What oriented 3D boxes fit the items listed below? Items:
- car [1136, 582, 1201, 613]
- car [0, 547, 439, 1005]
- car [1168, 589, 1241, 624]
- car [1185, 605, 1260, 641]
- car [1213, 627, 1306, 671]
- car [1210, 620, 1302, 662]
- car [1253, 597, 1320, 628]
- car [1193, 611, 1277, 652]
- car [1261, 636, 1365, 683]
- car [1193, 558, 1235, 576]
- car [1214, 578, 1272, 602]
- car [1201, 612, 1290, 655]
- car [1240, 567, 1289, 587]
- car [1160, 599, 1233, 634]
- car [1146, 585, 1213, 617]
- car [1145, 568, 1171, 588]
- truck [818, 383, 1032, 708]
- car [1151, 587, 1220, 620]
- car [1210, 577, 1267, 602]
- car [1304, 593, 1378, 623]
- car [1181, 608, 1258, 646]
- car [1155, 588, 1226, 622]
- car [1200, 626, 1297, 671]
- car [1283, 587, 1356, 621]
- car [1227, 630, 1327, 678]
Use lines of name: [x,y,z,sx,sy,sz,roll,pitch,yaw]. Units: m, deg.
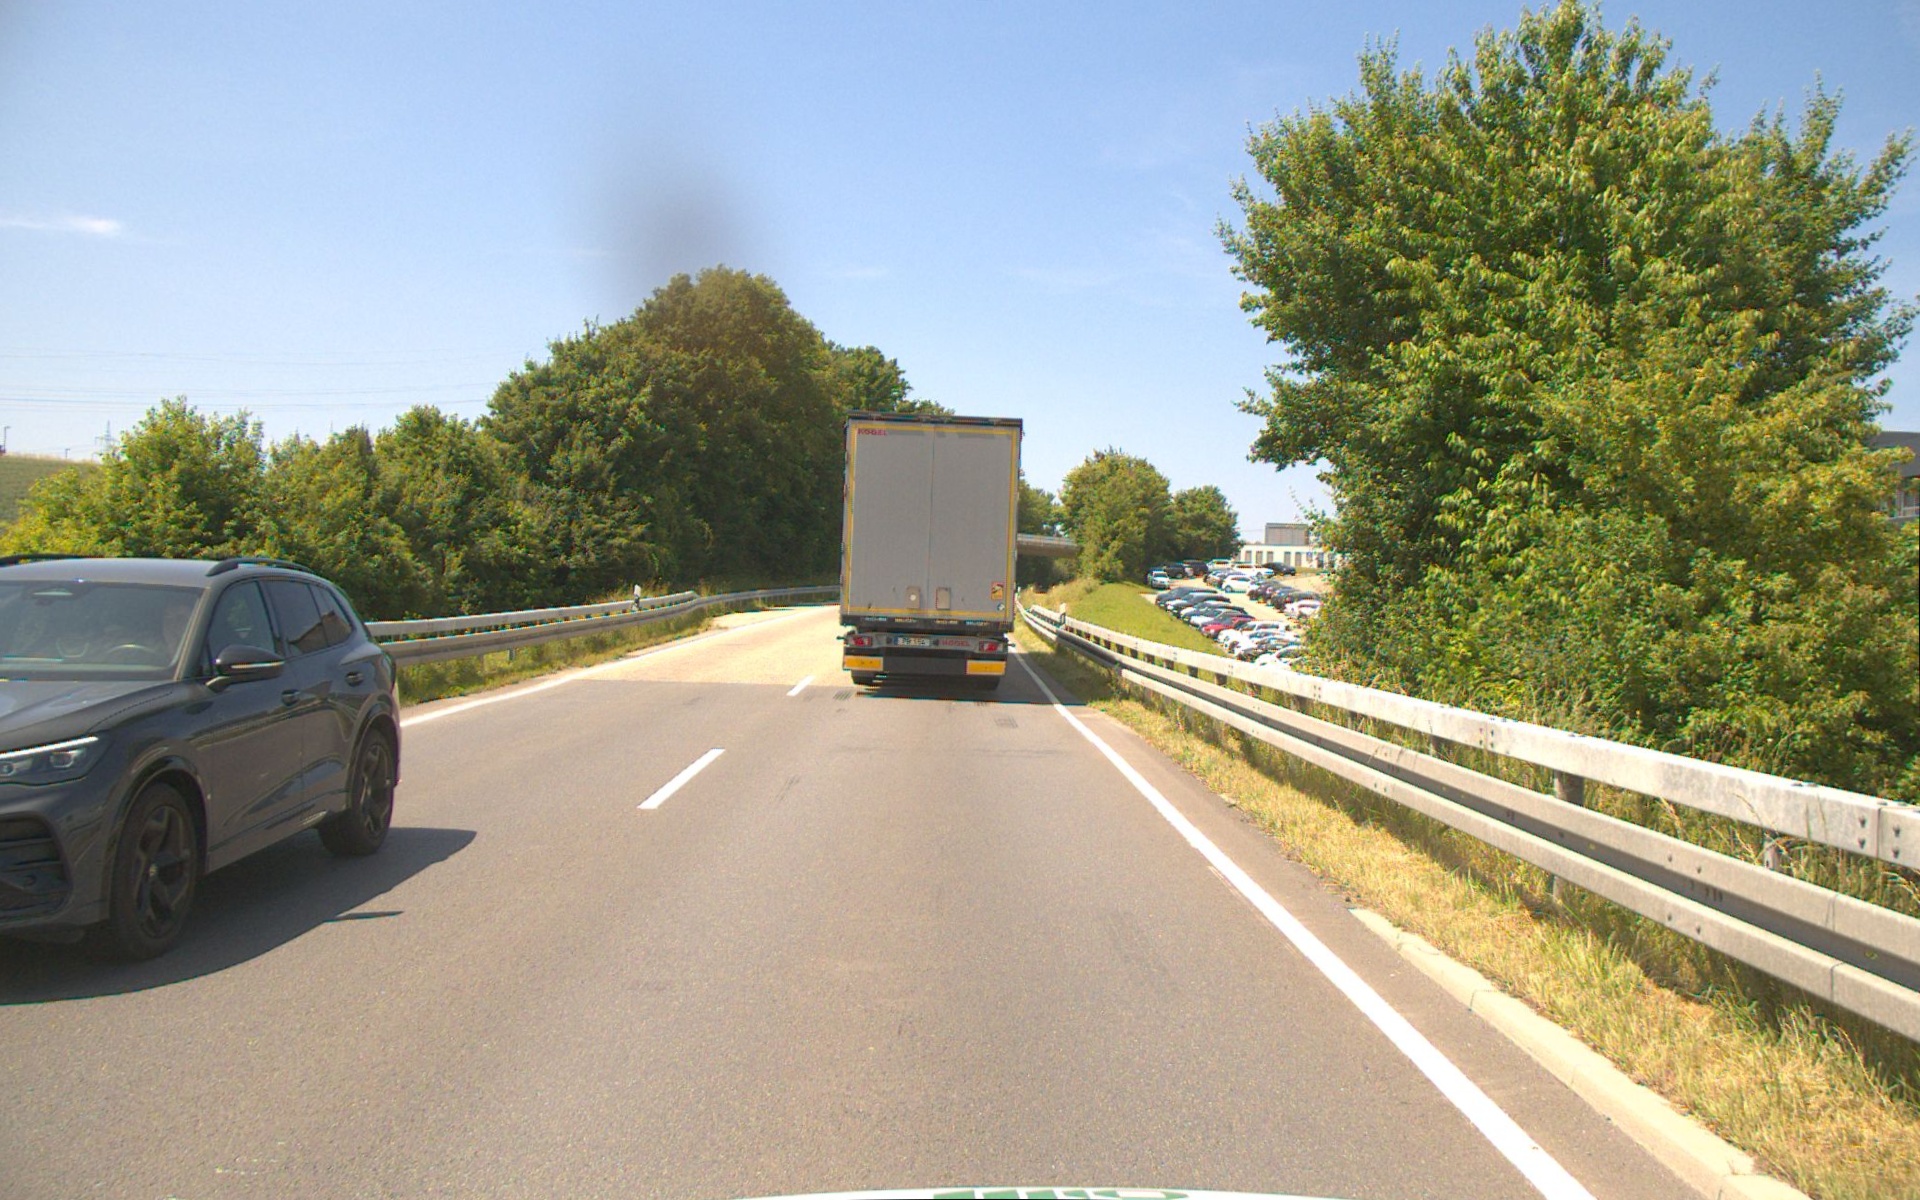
car: [15.192,-0.165,120.477,4.312,1.713,1.873,6,4,-28]
car: [-4.101,0.604,8.089,1.828,1.639,4.371,1,0,-2]
car: [16.018,0.456,108.335,4.312,1.713,1.873,6,4,-28]
car: [16.066,1.398,101.255,4.328,1.713,1.867,5,4,-36]
car: [15.422,2.507,85.186,4.282,1.584,1.886,9,4,25]
car: [15.832,2.171,88.486,4.288,1.584,1.884,9,4,30]
car: [24.668,0.949,124.818,4.490,1.655,1.818,9,4,28]
car: [15.869,1.819,95.386,4.301,1.713,1.878,6,3,-21]
car: [16.377,2.738,76.752,4.282,1.480,1.817,9,4,25]
car: [28.278,-3.705,184.252,4.311,1.713,1.873,2,5,-27]
car: [24.250,-0.851,141.537,4.481,1.656,1.820,6,3,22]
car: [15.858,1.844,91.887,4.361,1.713,1.887,9,4,23]
car: [31.194,-2.333,169.307,4.498,1.656,1.813,6,1,37]
car: [15.006,1.046,104.914,4.328,1.713,1.867,5,4,-36]
car: [15.616,0.055,117.641,4.312,1.713,1.873,6,4,-28]
car: [17.456,-1.936,146.219,1.593,1.376,3.711,7,3,-2]
truck: [-0.557,-0.870,28.198,2.808,4.435,9.788,3,1,-1]
car: [15.647,0.214,114.730,4.312,1.713,1.873,6,4,-28]
car: [24.238,-0.920,144.031,4.482,1.656,1.820,6,3,22]
car: [25.487,0.492,110.644,4.491,1.545,1.816,5,6,32]
car: [15.357,1.611,97.842,4.328,1.713,1.867,5,4,-36]
car: [15.557,0.328,111.639,4.312,1.713,1.873,6,4,-28]
car: [14.485,2.415,83.081,4.282,1.584,1.886,9,4,25]
car: [24.801,0.265,114.212,4.490,1.655,1.818,9,4,28]
car: [15.340,2.584,80.146,4.282,1.584,1.860,9,4,25]
